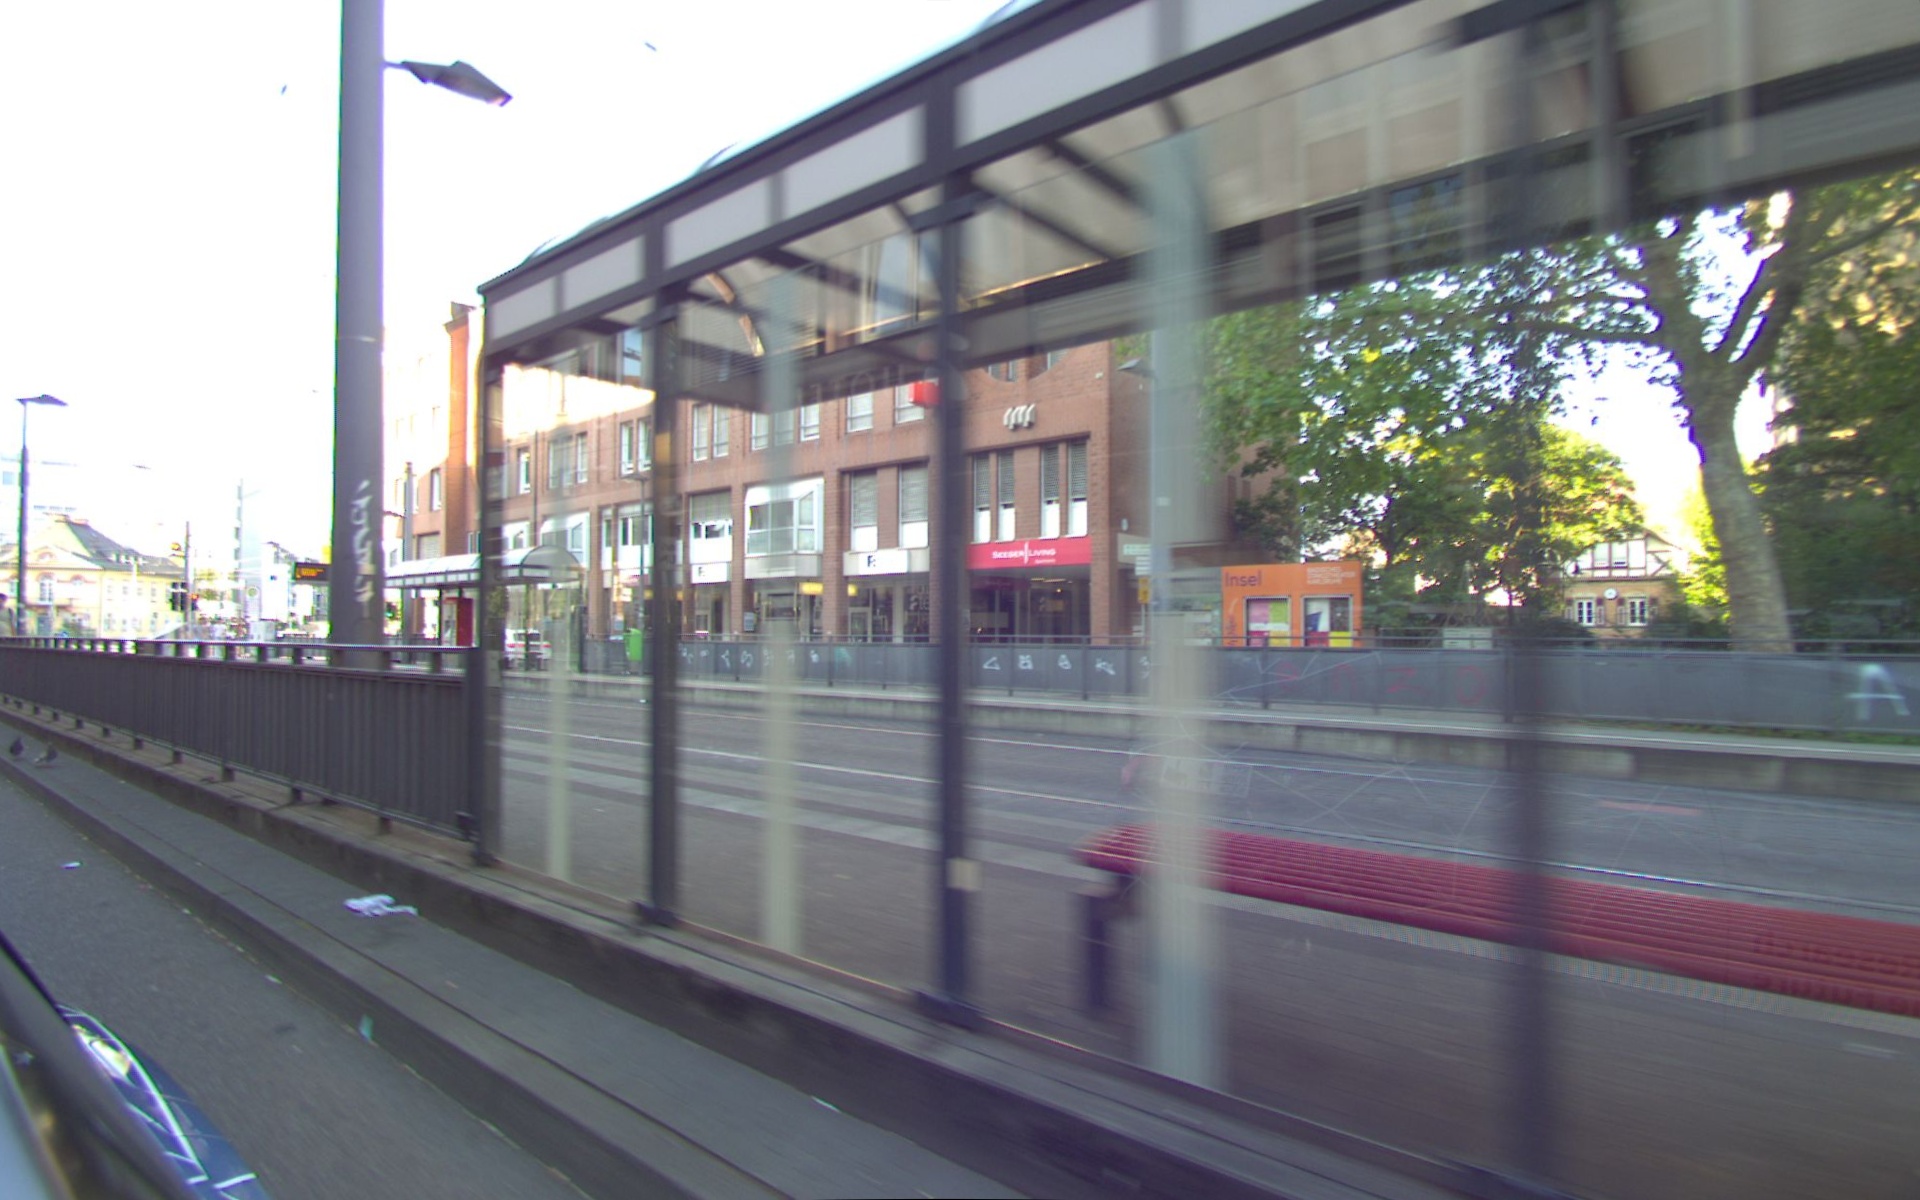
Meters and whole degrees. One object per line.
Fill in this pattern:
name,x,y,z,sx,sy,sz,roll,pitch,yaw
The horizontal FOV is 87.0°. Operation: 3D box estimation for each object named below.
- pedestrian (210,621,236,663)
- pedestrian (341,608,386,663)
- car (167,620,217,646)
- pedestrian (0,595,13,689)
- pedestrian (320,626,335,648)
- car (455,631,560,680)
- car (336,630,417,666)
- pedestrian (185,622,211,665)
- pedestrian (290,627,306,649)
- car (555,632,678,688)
pedestrian,-32.038,1.821,43.997,0.847,1.780,0.813,-2,1,-38
pedestrian,-18.537,1.098,31.456,0.966,1.674,0.902,-1,-2,40
car,-94.789,4.019,125.022,2.501,3.071,6.390,2,-2,-13
pedestrian,-18.834,0.810,19.641,0.605,1.805,0.577,-1,-2,39
pedestrian,-61.094,3.589,97.748,0.997,2.029,0.992,-2,0,-16
car,-16.872,2.040,37.648,4.289,1.606,1.889,0,-2,41
car,-26.780,2.200,46.406,4.116,1.541,1.882,-2,-4,39
pedestrian,-32.634,1.843,43.345,0.847,1.780,0.813,-2,1,-38
pedestrian,-62.842,3.592,96.092,0.990,2.029,1.058,-1,1,45
car,-11.273,1.910,33.096,4.289,1.606,1.889,0,-2,41
